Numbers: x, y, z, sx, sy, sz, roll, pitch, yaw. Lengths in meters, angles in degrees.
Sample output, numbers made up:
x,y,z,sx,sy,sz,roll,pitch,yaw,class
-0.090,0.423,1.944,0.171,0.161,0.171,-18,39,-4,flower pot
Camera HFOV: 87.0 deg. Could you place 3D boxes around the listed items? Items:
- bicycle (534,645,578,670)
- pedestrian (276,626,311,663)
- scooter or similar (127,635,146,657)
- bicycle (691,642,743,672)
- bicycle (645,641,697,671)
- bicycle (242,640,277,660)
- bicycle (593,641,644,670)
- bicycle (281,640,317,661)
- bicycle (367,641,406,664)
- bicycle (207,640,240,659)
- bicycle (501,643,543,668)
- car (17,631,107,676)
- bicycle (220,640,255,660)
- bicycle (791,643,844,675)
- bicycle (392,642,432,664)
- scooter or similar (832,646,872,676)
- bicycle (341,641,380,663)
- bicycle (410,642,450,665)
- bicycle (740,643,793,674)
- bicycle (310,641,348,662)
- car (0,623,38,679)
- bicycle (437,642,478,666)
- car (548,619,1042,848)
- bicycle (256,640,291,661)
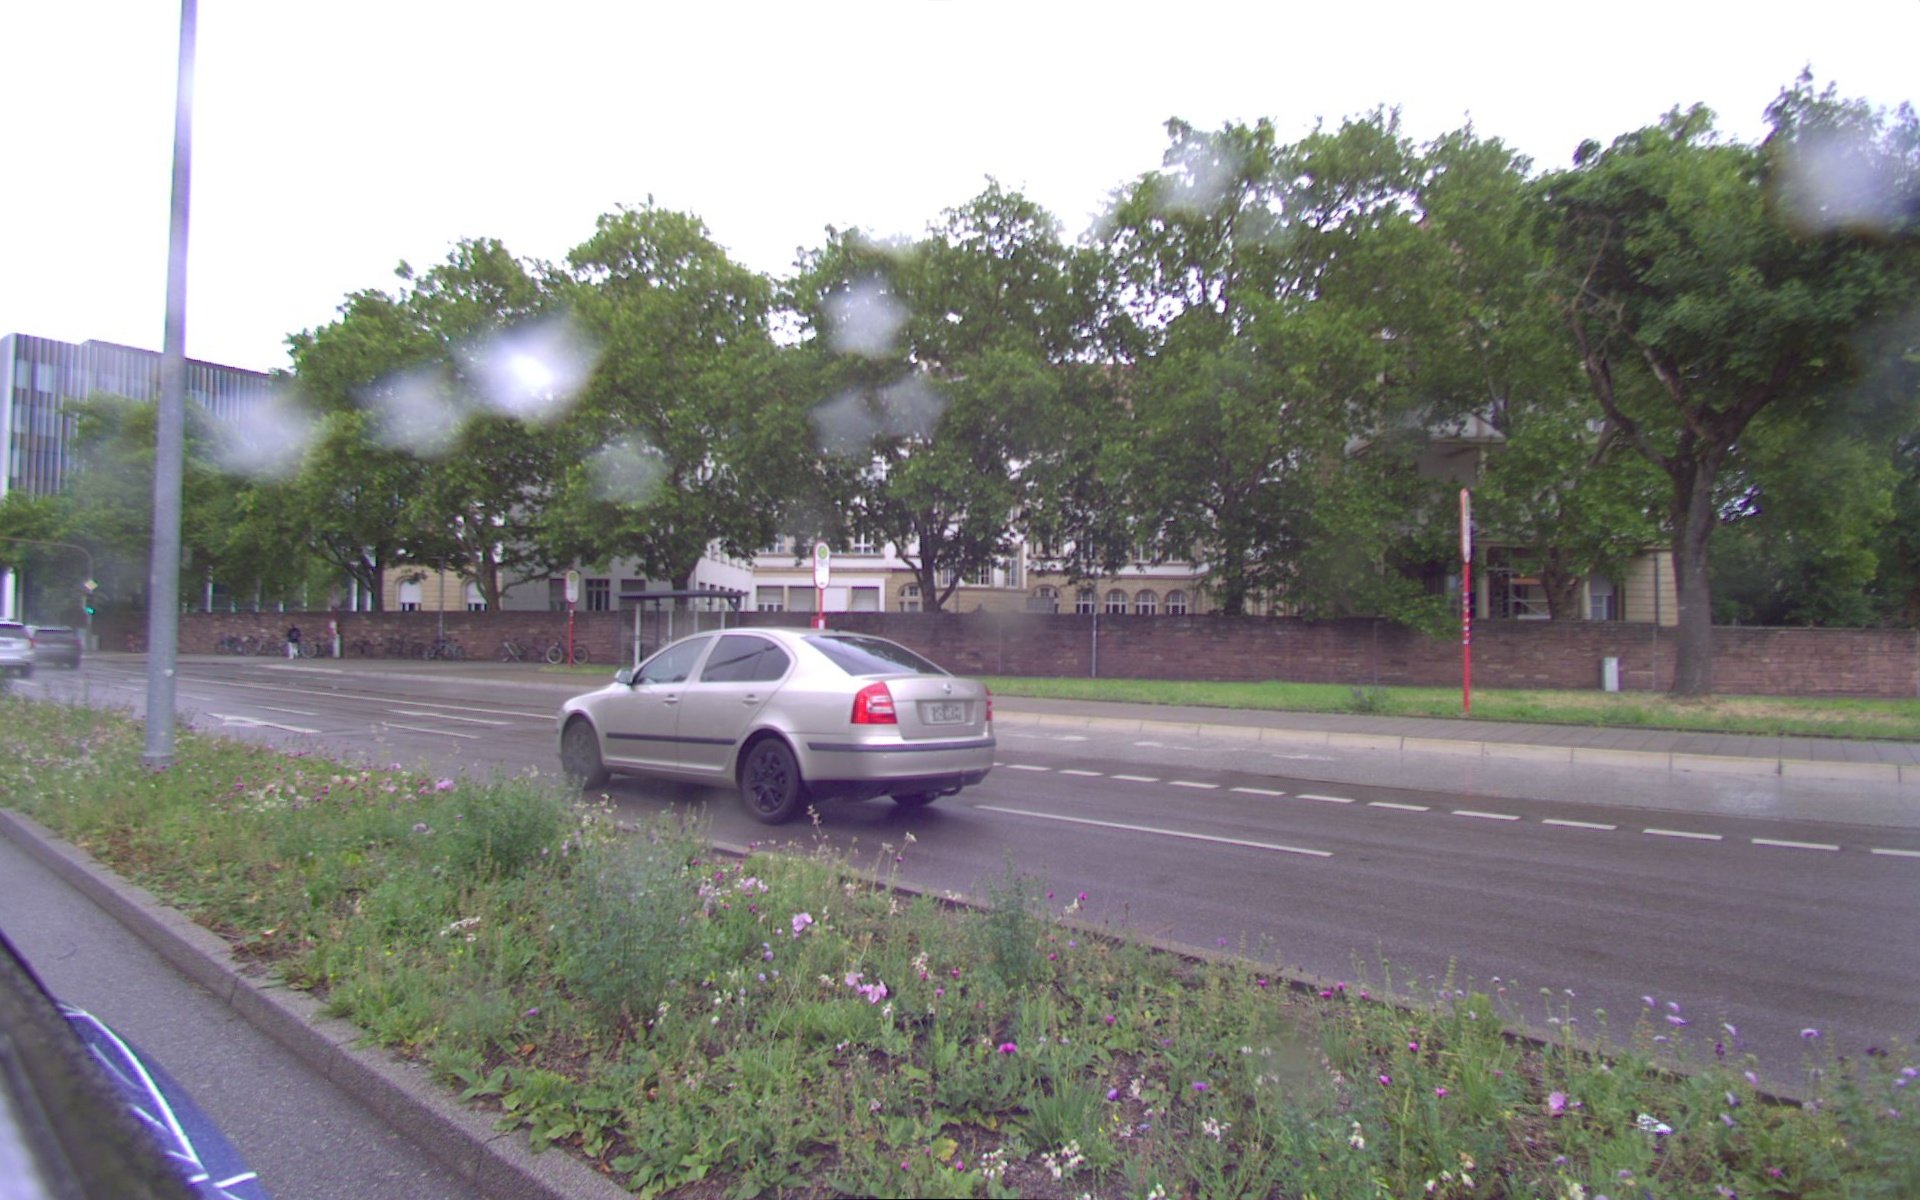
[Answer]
x,y,z,sx,sy,sz,roll,pitch,yaw,class
-16.640,2.353,41.688,1.692,0.990,0.727,-1,-2,27,bicycle
-31.289,2.091,47.506,1.395,1.708,0.862,-1,-3,32,pedestrian
-47.262,2.628,58.076,1.138,1.206,0.388,-1,4,32,scooter or similar
-9.437,2.201,39.288,1.978,1.144,0.570,-1,-3,22,bicycle
-11.405,2.212,39.885,1.975,1.144,0.571,-1,-3,18,bicycle
-35.540,2.533,51.343,1.692,0.990,0.727,-1,-2,27,bicycle
-13.691,2.225,40.610,1.975,1.144,0.571,-1,-3,18,bicycle
-32.135,2.467,49.213,1.692,0.990,0.727,-1,-2,27,bicycle
-26.207,2.382,46.216,1.692,0.990,0.727,-1,-2,27,bicycle
-38.742,2.590,53.233,1.692,0.990,0.727,-1,-2,27,bicycle
-18.471,2.334,42.673,1.692,0.990,0.727,-1,-2,27,bicycle
-35.663,2.106,40.151,4.600,1.648,1.973,-1,-5,41,car
-37.131,2.550,52.012,1.692,0.990,0.727,-1,-2,27,bicycle
-5.349,2.199,37.965,1.978,1.144,0.570,-1,-3,22,bicycle
-24.636,2.378,45.493,1.692,0.990,0.727,-1,-2,27,bicycle
-3.997,2.246,37.468,1.353,1.055,0.570,-1,-3,22,scooter or similar
-27.797,2.401,46.929,1.692,0.990,0.727,-1,-2,27,bicycle
-23.478,2.357,44.800,1.692,0.990,0.727,-1,-2,27,bicycle
-7.338,2.222,38.442,1.978,1.144,0.570,-1,-3,22,bicycle
-30.153,2.445,48.361,1.692,0.990,0.727,-1,-2,27,bicycle
-31.212,1.576,32.141,5.156,1.695,1.809,-1,-4,37,car
-21.567,2.302,43.431,1.692,0.990,0.727,-1,-2,27,bicycle
-1.516,0.903,8.330,4.179,1.426,1.677,-1,-3,40,car
-33.871,2.485,49.941,1.858,0.990,0.726,-1,-2,31,bicycle
